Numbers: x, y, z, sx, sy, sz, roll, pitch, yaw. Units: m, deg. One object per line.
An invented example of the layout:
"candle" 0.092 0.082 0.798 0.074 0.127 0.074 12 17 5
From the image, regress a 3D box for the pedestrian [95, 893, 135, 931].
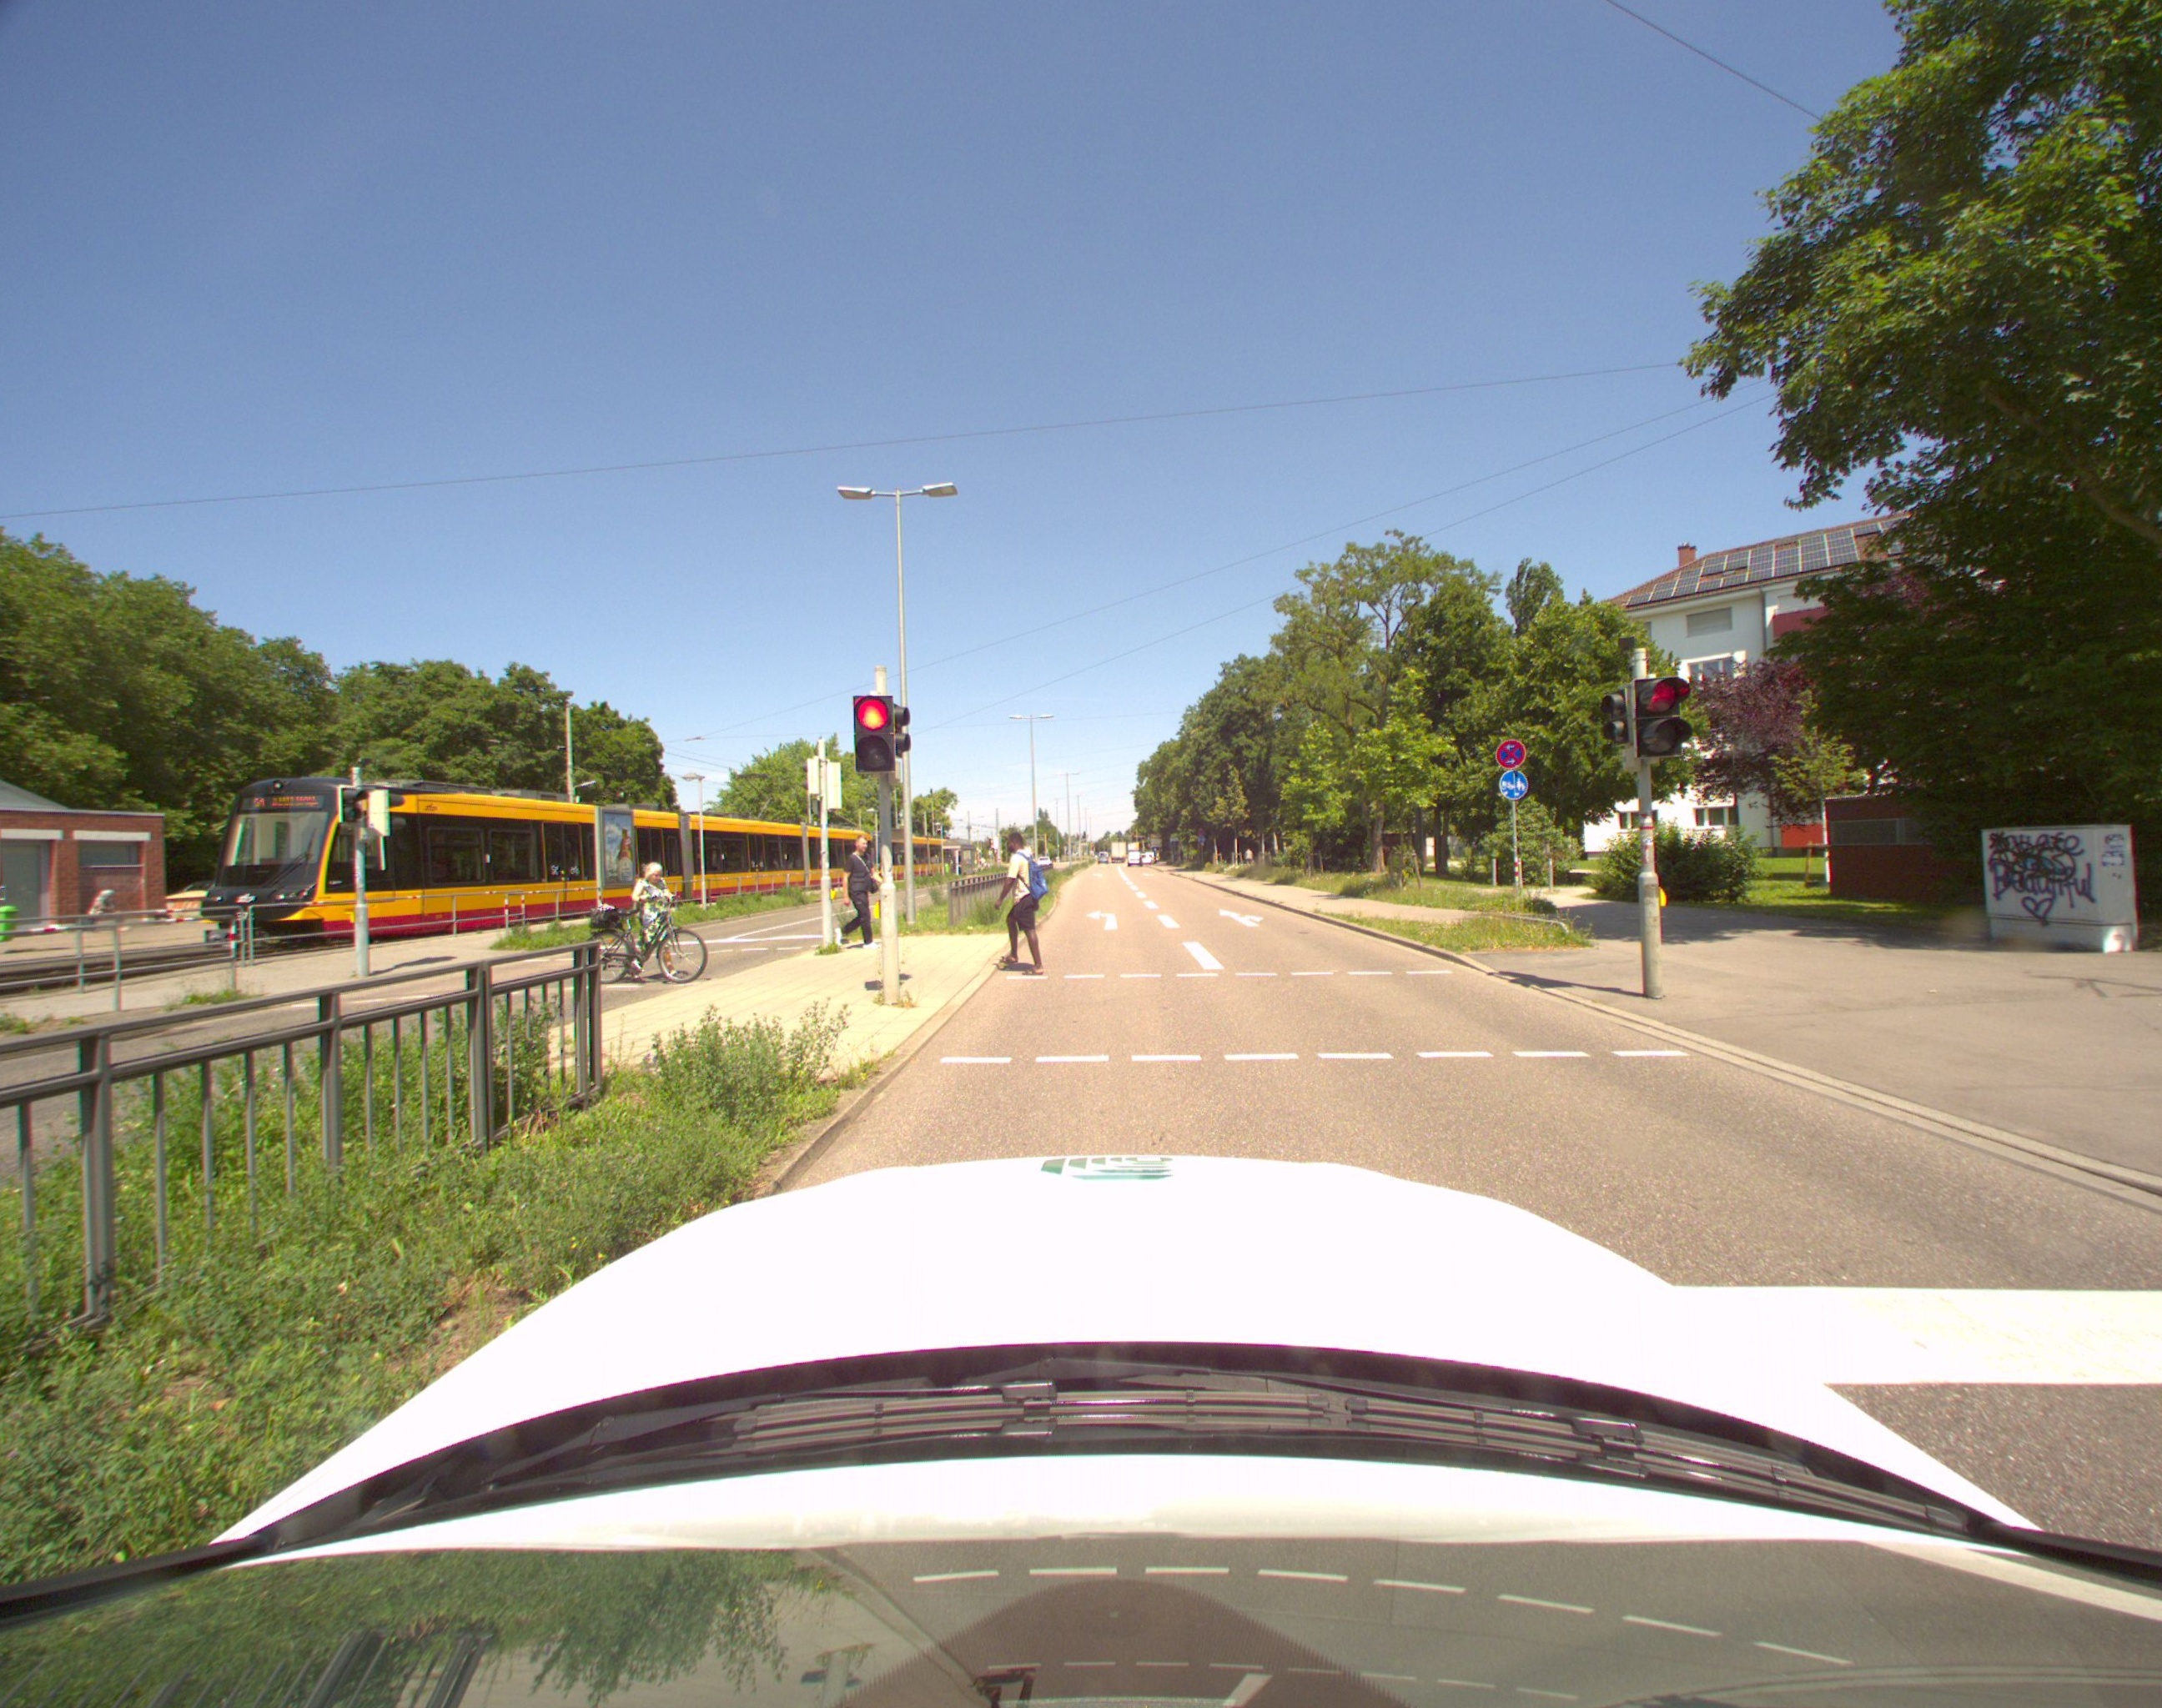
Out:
"pedestrian" -26.837 1.607 22.625 0.479 1.018 0.523 -2 0 4

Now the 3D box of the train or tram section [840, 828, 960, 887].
"train or tram section" -13.460 0.257 64.754 2.777 3.668 26.010 -1 0 2

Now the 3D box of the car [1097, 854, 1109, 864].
"car" 3.530 0.838 129.996 1.795 1.486 4.002 -2 0 2

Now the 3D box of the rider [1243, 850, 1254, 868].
"rider" 11.968 0.330 58.103 0.675 1.281 0.534 -1 0 1

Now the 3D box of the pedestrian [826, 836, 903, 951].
"pedestrian" -3.526 0.616 13.270 0.949 1.797 0.710 -2 -1 31

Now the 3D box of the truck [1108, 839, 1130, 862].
"truck" 6.837 -0.591 148.200 3.884 3.813 10.797 -2 0 2

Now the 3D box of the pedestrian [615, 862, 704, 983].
"pedestrian" -5.879 0.934 11.381 0.814 1.628 0.707 -1 0 7

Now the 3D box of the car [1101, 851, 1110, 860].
"car" 4.914 0.299 164.588 1.681 1.897 3.872 -2 0 2

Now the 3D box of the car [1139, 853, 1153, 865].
"car" 8.940 0.698 112.190 1.796 1.540 4.002 0 0 2

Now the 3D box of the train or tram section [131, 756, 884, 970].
"train or tram section" -14.557 0.195 32.982 2.777 3.668 37.534 -1 0 2

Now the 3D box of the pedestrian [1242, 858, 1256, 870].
"pedestrian" 11.975 0.705 58.133 0.675 0.847 1.774 -1 0 2

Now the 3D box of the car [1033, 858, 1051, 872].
"car" -4.993 1.403 105.713 1.986 1.650 4.002 -2 0 2

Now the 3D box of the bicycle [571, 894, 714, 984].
"bicycle" -5.863 1.133 10.885 1.853 1.157 0.243 -1 0 7

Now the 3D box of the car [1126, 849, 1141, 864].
"car" 6.510 0.297 100.738 1.720 1.814 4.004 0 0 4

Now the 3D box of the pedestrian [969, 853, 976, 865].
"pedestrian" -17.151 0.790 129.017 0.860 1.964 0.874 -1 0 1

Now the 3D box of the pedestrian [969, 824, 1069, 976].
"pedestrian" -0.782 0.567 10.437 1.038 1.850 0.760 -1 -1 16
